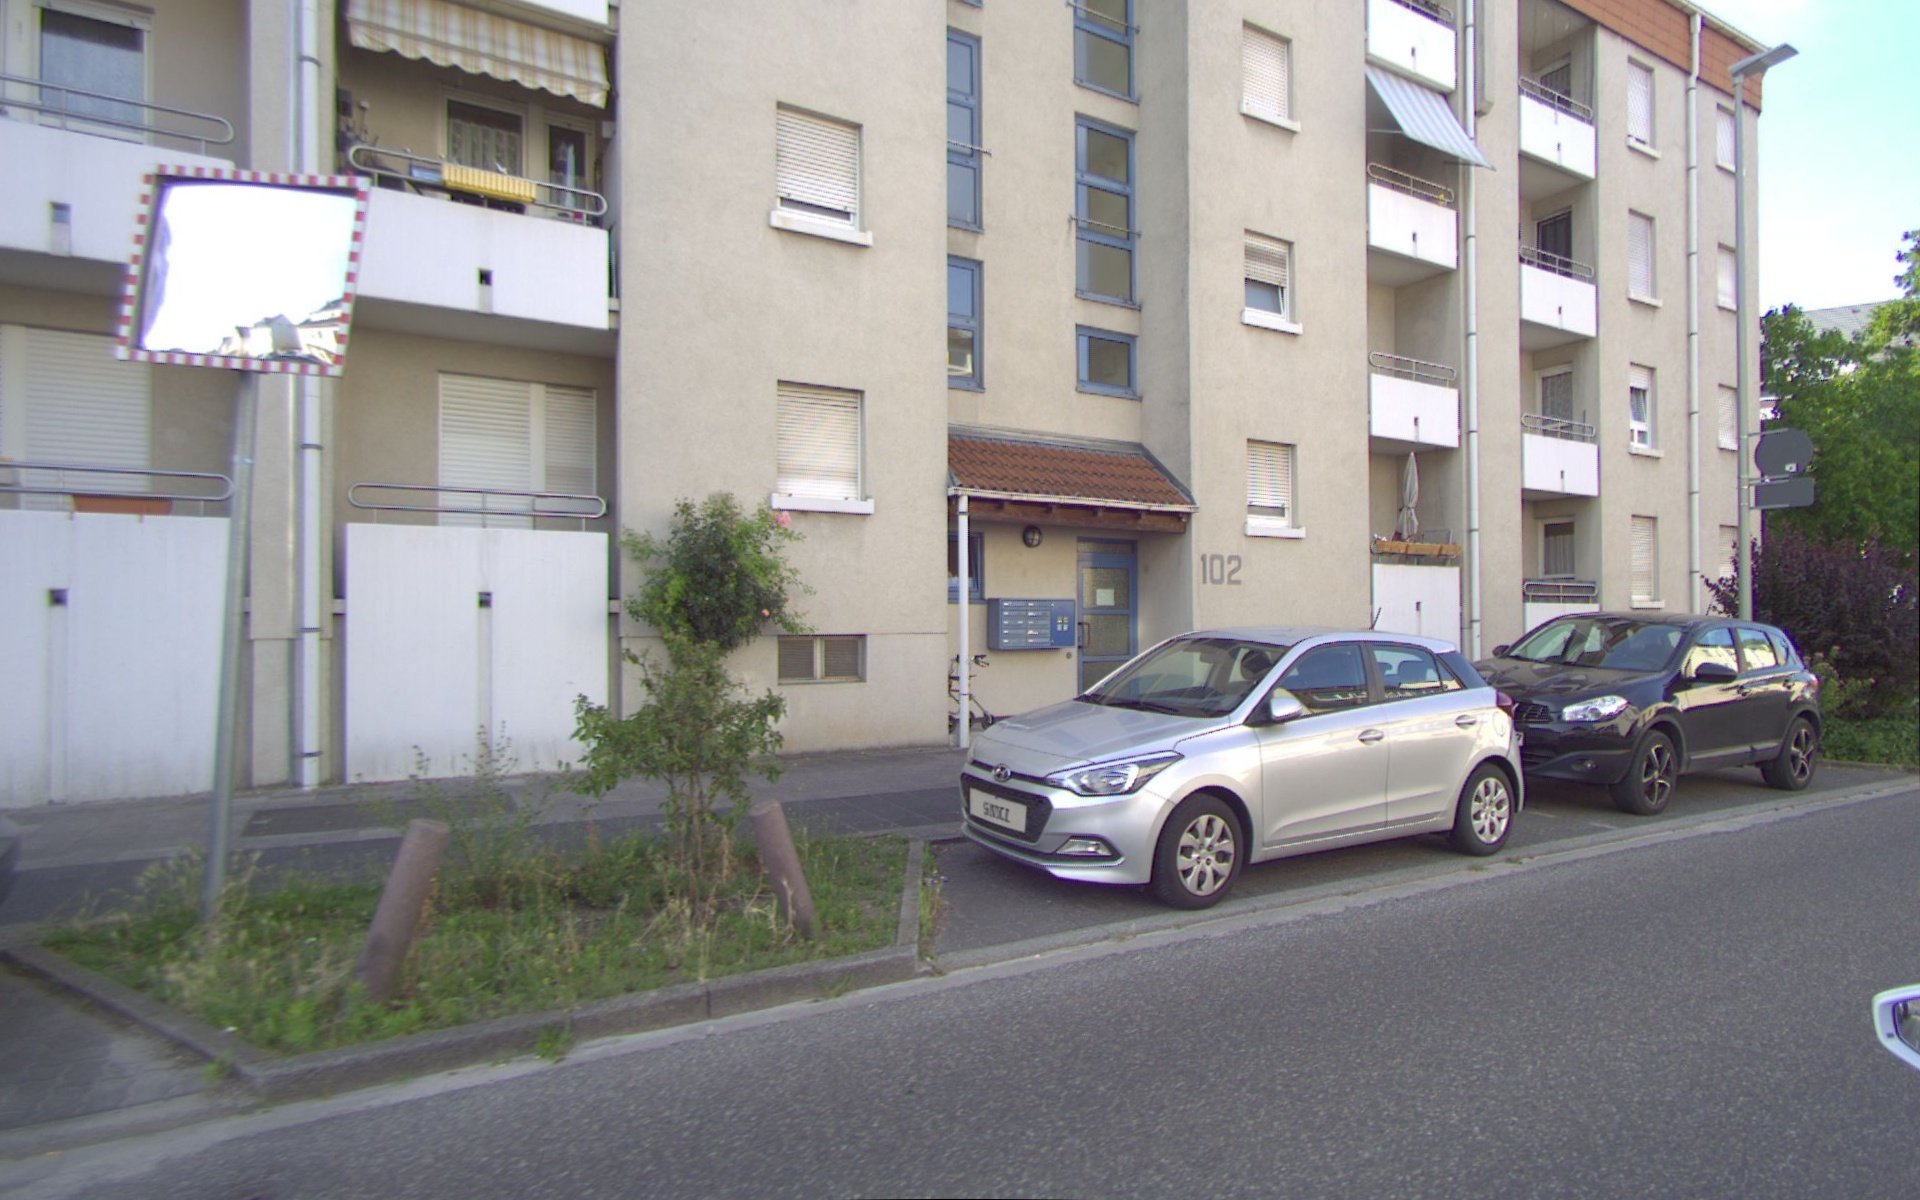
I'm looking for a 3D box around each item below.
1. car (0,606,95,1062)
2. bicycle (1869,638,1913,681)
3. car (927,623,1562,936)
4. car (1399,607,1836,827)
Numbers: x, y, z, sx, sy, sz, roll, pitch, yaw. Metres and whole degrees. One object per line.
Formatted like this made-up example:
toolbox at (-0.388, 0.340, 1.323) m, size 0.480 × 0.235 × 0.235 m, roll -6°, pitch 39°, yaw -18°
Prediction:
car at (-5.260, 0.771, 2.576) m, size 4.320 × 1.541 × 1.798 m, roll 1°, pitch -1°, yaw -31°
bicycle at (23.452, 1.475, 25.295) m, size 1.665 × 1.036 × 0.459 m, roll 1°, pitch -1°, yaw -34°
car at (1.969, 0.901, 6.595) m, size 4.092 × 1.474 × 1.678 m, roll 1°, pitch -1°, yaw -31°
car at (6.153, 0.902, 9.267) m, size 4.319 × 1.624 × 1.677 m, roll 1°, pitch -1°, yaw -31°
